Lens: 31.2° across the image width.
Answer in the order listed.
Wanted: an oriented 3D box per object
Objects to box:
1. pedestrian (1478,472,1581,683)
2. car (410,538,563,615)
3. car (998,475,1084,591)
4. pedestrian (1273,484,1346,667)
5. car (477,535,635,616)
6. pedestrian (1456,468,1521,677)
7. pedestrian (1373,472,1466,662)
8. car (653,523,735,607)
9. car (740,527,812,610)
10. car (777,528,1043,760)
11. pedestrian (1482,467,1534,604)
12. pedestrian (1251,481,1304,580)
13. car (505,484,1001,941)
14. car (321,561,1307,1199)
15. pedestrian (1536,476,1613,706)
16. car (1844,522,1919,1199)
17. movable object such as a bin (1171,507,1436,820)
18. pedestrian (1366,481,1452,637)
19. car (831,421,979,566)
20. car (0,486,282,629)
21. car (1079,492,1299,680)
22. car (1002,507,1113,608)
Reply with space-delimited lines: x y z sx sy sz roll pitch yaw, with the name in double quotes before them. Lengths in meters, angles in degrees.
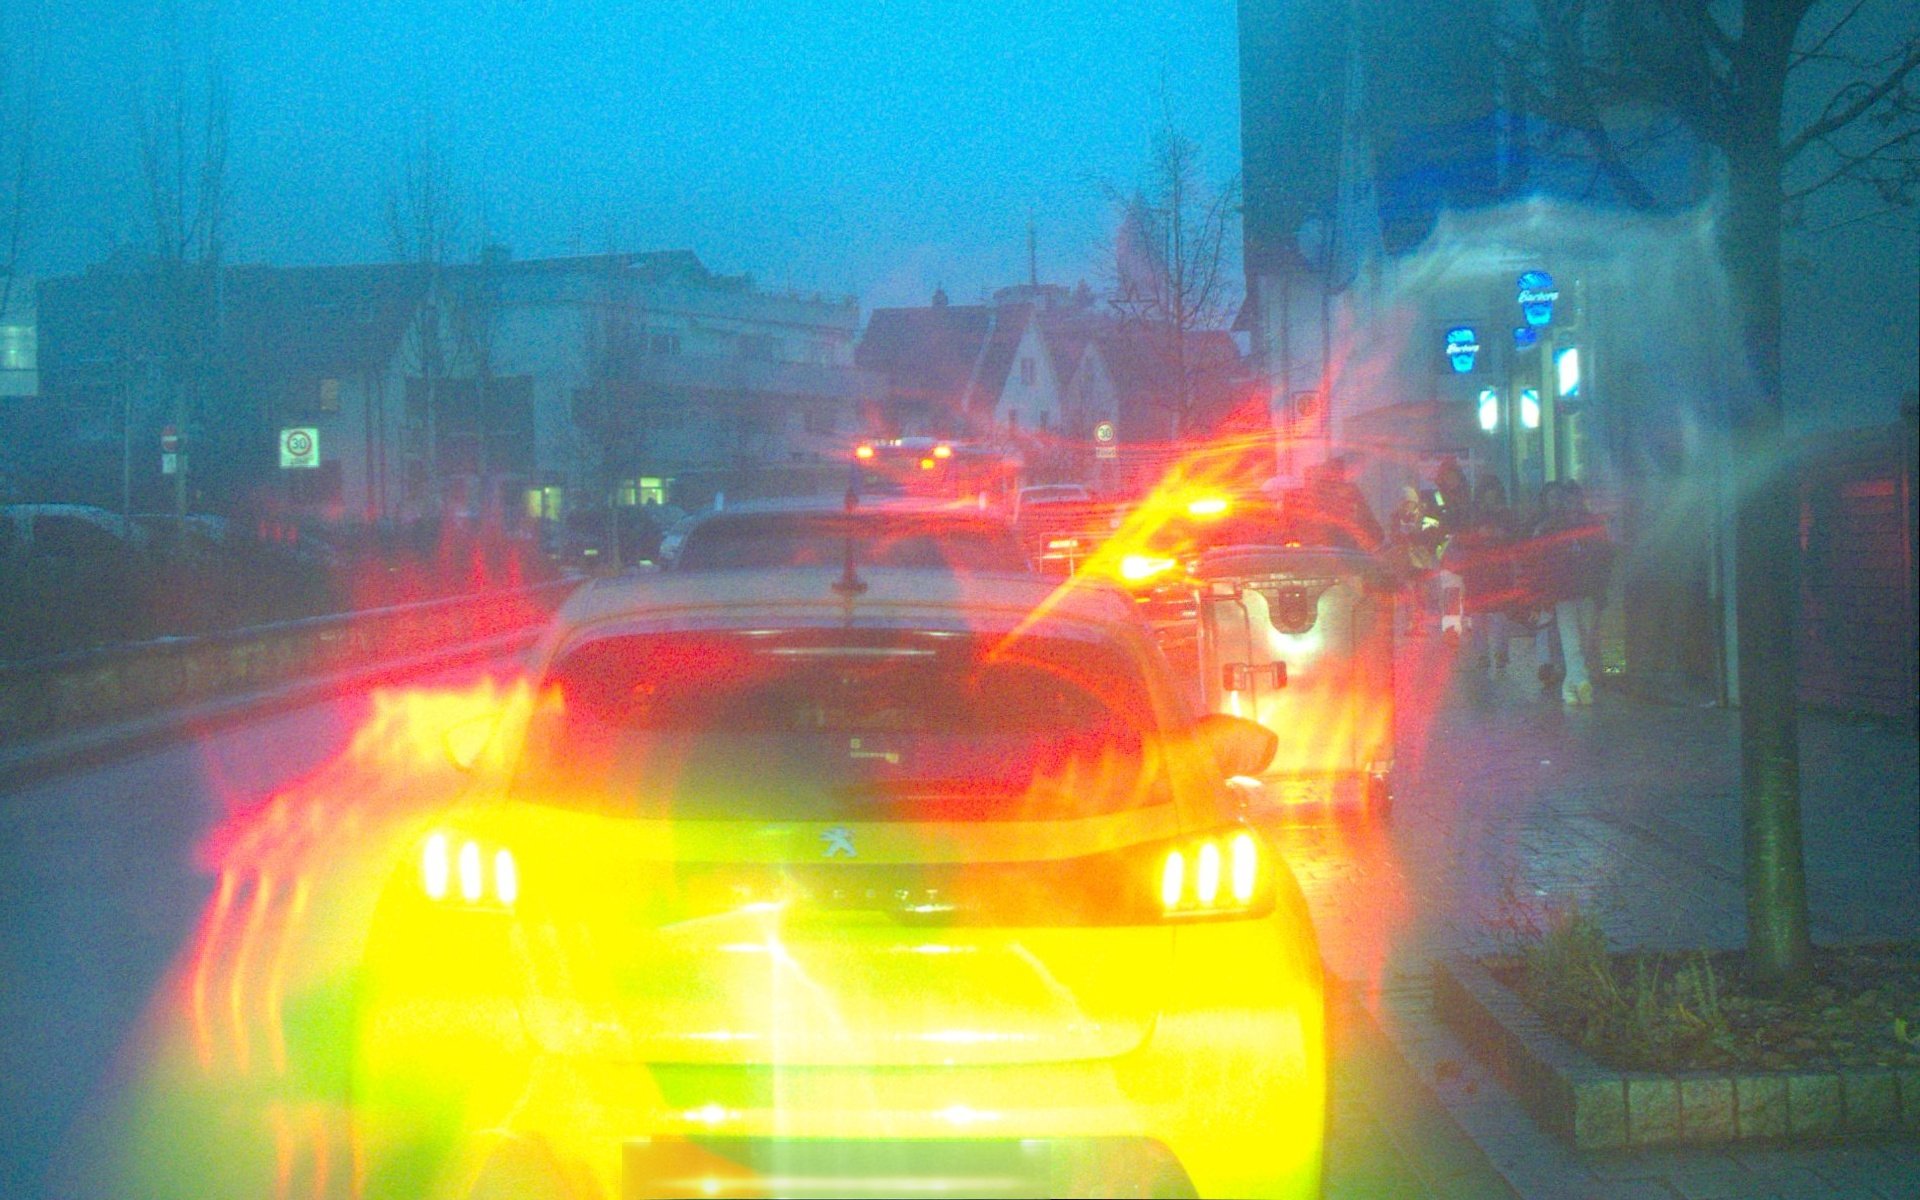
"pedestrian" 4.607 -0.172 27.862 0.747 1.673 1.052 1 -1 6
"car" -12.617 -0.612 91.502 4.166 1.969 1.818 0 -1 44
"car" 1.815 -1.482 77.785 1.870 2.460 4.443 1 -1 1
"pedestrian" 3.315 -0.232 32.646 0.573 1.694 0.653 -2 1 1
"car" -11.181 -0.653 95.001 4.383 2.159 1.995 0 -1 44
"pedestrian" 4.604 -0.251 29.927 0.529 1.794 0.864 1 2 10
"pedestrian" 4.273 -0.318 31.955 0.712 1.709 1.034 -2 2 13
"car" -6.816 -0.873 88.351 1.919 2.021 3.975 1 -1 -2
"car" -5.125 -0.860 96.149 1.919 2.208 3.975 1 -1 -2
"car" -0.309 0.223 21.764 1.541 1.327 3.311 1 1 -1
"pedestrian" 6.960 -0.816 43.690 0.618 1.721 0.501 0 -1 12
"pedestrian" 4.940 -1.086 53.458 0.618 1.510 0.734 -1 3 -14
"car" -0.764 0.361 14.155 1.766 1.623 3.586 1 1 -1
"car" -0.249 0.651 7.005 1.563 1.408 3.018 1 1 0
"pedestrian" 4.486 -0.061 25.133 0.529 1.647 0.953 1 -1 10
"car" 2.475 0.607 4.226 1.728 1.459 4.199 -3 2 2
"movable object such as a bin" 1.684 0.286 17.134 1.129 1.415 1.417 -4 2 2
"pedestrian" 4.758 -0.443 36.476 0.618 1.621 0.907 -1 3 -14
"car" -1.200 -2.392 79.382 3.191 3.021 6.305 1 -1 1
"car" -10.568 -0.510 40.996 4.625 1.662 2.000 0 1 -3
"car" 2.160 -0.169 33.504 1.735 1.686 4.386 -1 1 -1
"car" 1.820 -0.809 65.345 1.997 1.858 4.083 0 1 0
